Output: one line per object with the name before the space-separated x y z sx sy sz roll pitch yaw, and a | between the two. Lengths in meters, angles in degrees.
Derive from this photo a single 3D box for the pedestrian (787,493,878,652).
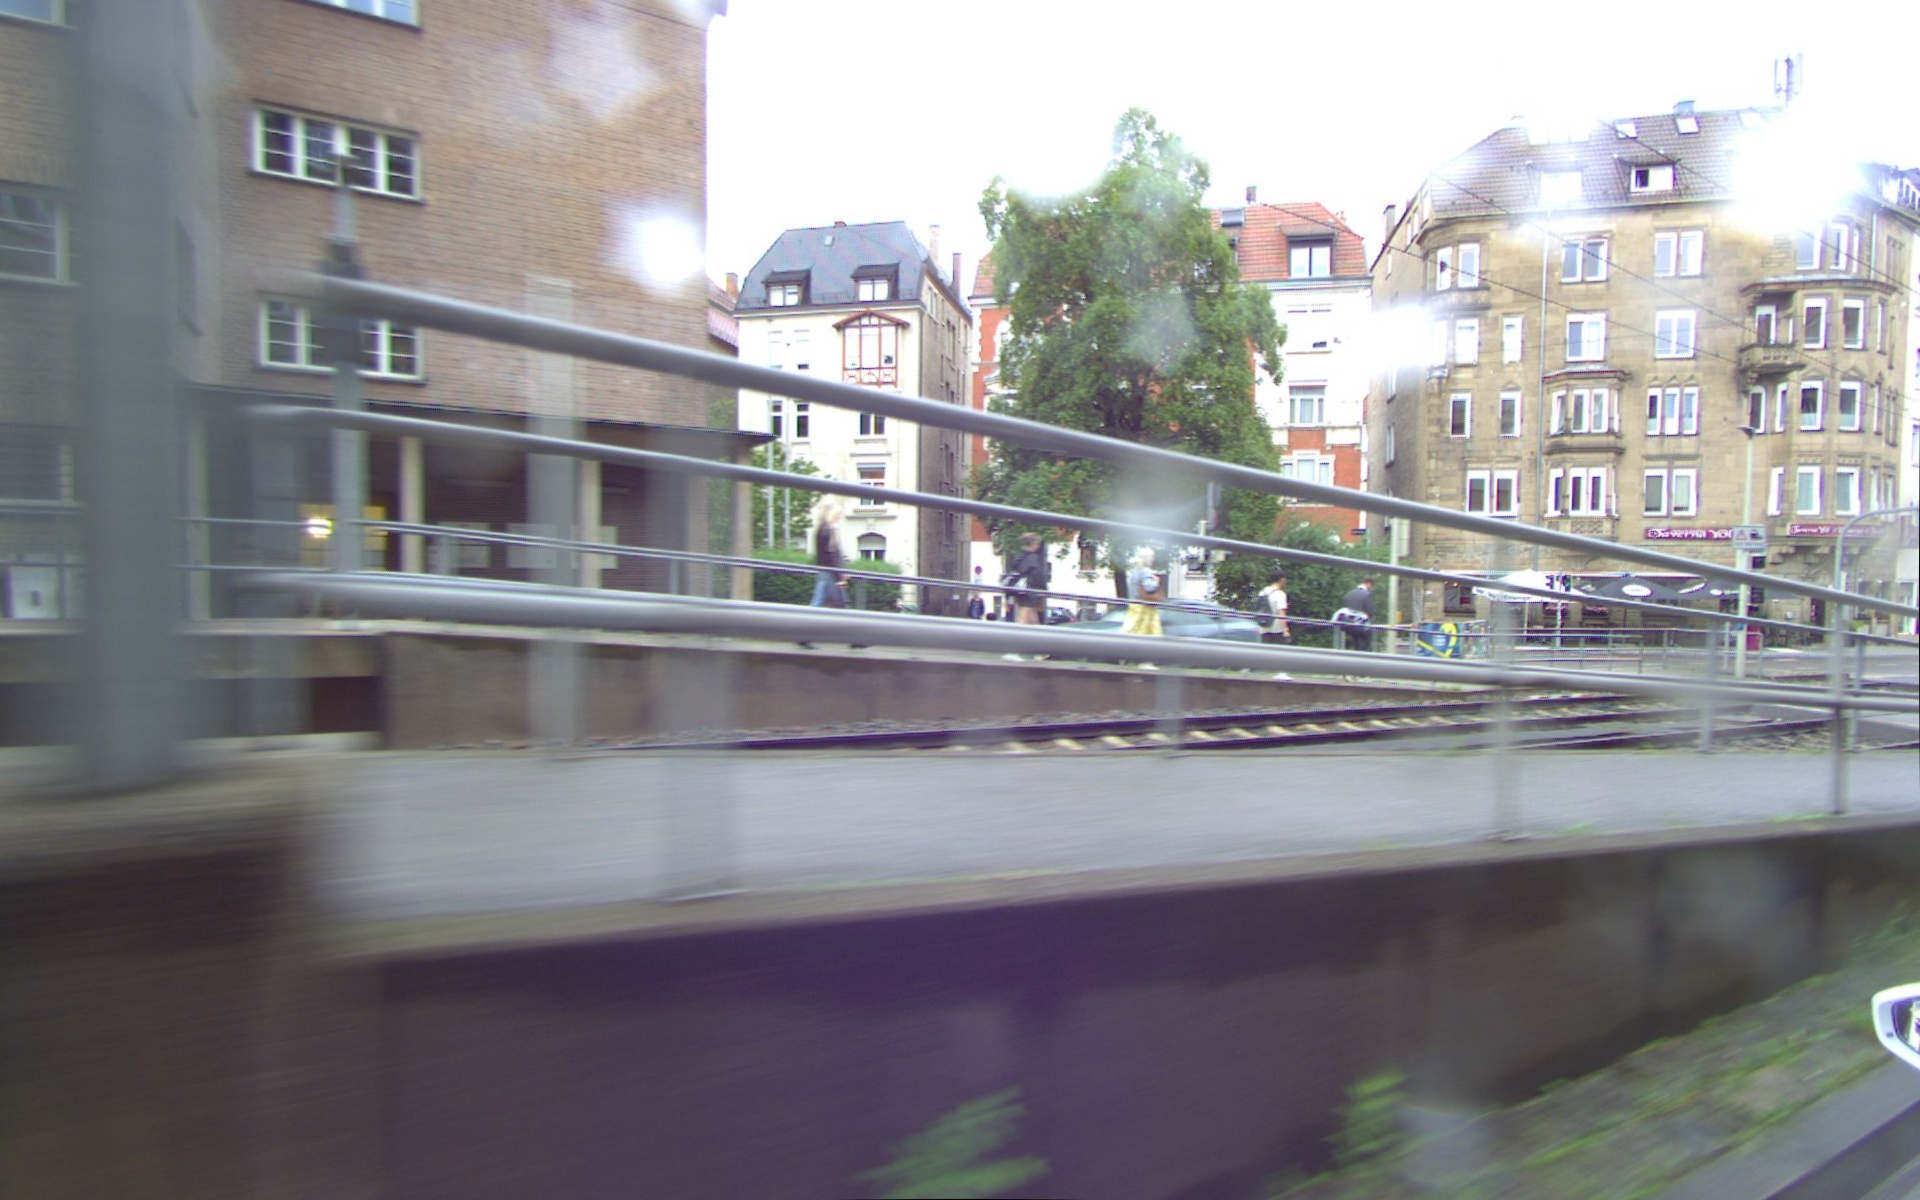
pedestrian | -1.465 -0.313 11.492 0.681 1.721 0.660 5 1 -33

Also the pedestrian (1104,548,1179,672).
pedestrian | 2.530 0.135 14.041 0.633 1.669 0.740 3 0 -30

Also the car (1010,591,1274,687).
car | 3.310 0.662 17.910 4.708 1.517 1.636 1 0 -30

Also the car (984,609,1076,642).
car | 3.254 1.158 46.403 4.059 1.421 1.743 1 -1 12

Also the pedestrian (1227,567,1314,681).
pedestrian | 4.564 0.348 14.789 0.945 1.604 0.689 4 0 -30

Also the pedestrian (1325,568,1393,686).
pedestrian | 6.591 0.439 16.601 0.791 1.841 0.508 8 -2 -30

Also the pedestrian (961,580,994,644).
pedestrian | 0.478 0.327 27.398 0.681 1.697 0.600 1 -1 -33

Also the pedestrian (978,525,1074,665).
pedestrian | 0.852 -0.062 13.093 0.873 1.718 0.740 5 -1 -30
